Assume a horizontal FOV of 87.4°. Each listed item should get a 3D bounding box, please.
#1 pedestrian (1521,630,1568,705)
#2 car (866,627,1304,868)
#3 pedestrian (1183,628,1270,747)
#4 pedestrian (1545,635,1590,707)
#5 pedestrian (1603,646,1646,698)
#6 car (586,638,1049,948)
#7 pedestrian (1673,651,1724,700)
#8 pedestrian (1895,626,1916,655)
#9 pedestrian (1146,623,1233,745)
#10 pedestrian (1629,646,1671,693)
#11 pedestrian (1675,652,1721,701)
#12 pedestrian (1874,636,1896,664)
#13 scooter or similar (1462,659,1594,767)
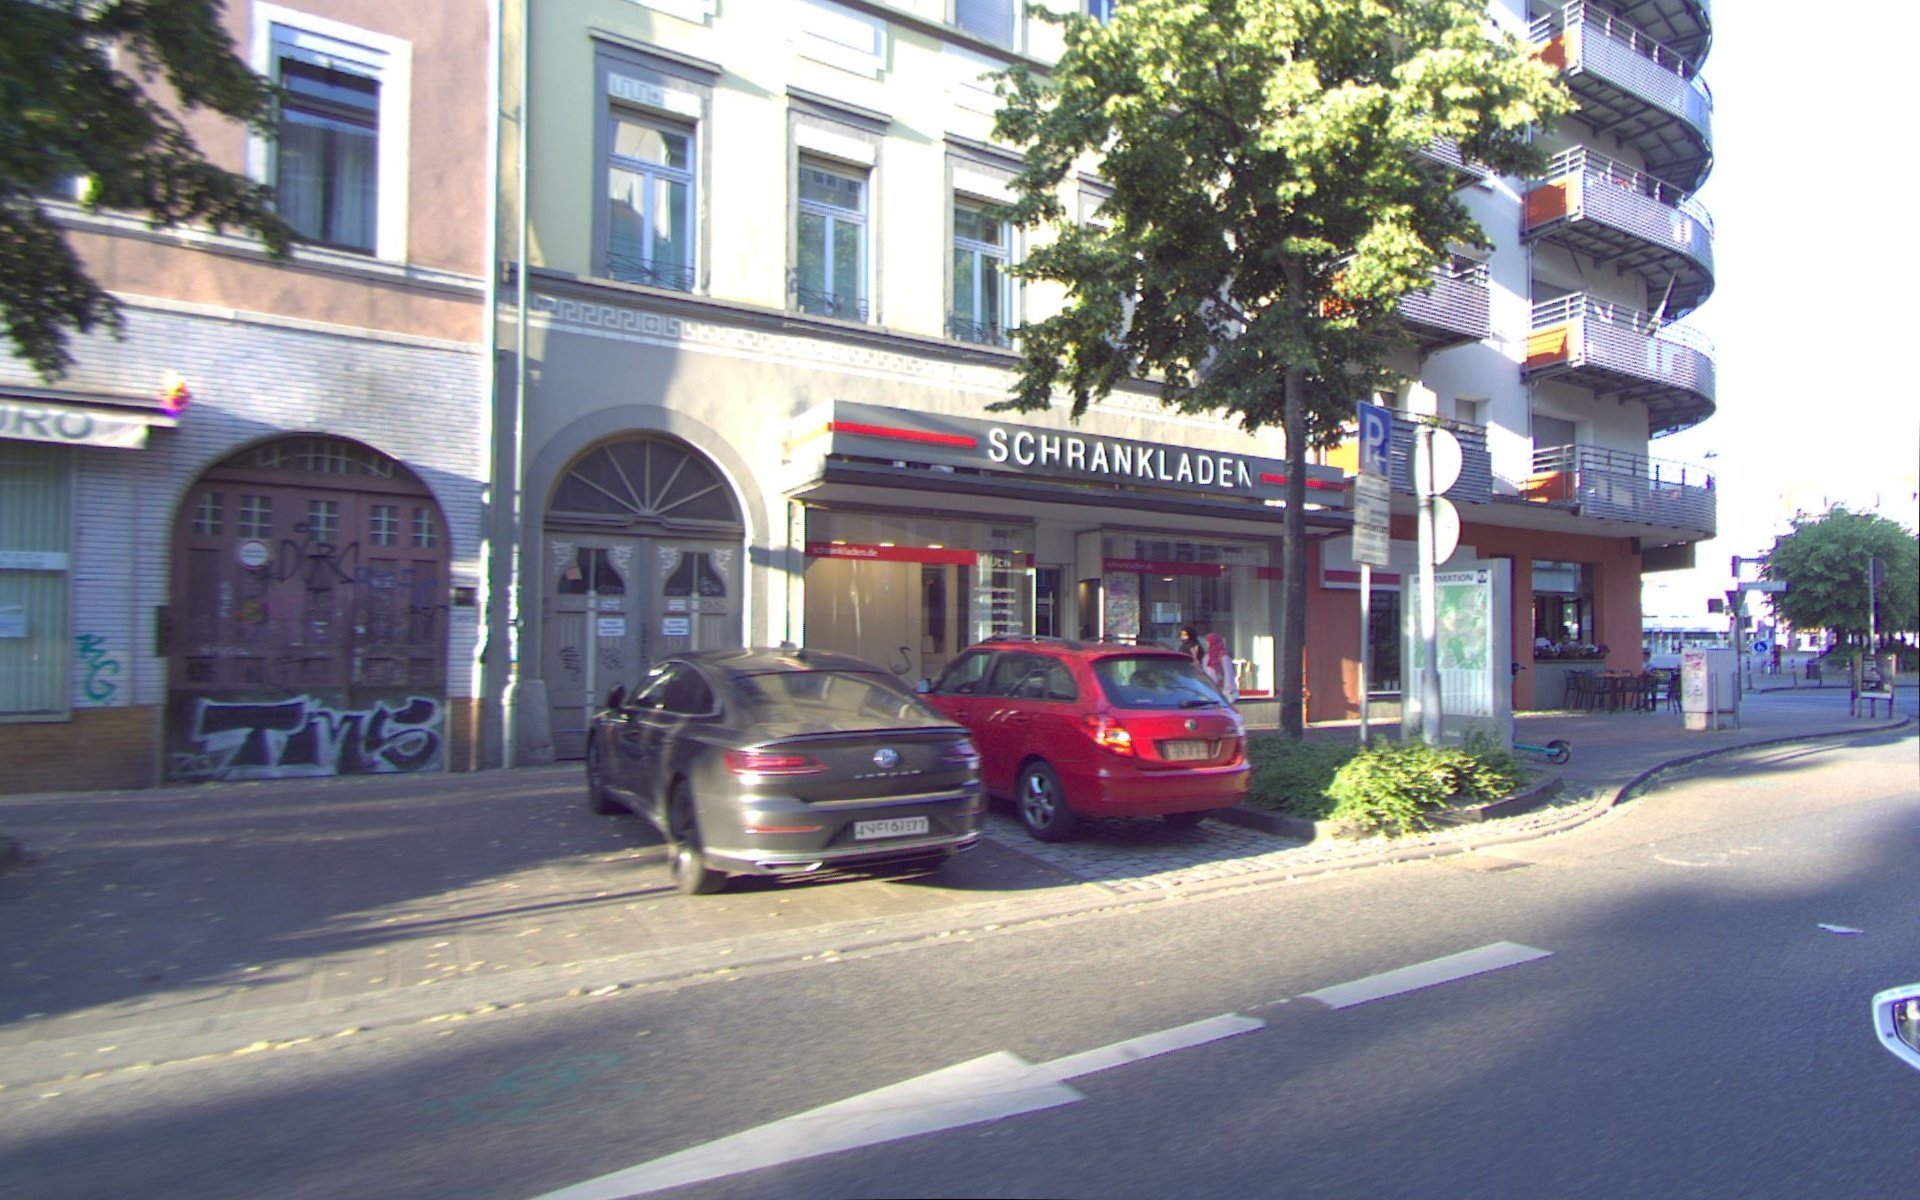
[{"bbox_3d":[12.910,1.487,22.181,0.741,1.615,0.594,3,-3,-28],"label":"pedestrian"},{"bbox_3d":[0.835,1.056,8.990,1.861,1.557,4.054,1,-1,-29],"label":"car"},{"bbox_3d":[3.645,1.185,13.753,0.865,1.548,0.731,3,-1,-29],"label":"pedestrian"},{"bbox_3d":[13.776,1.609,22.777,0.693,1.615,0.594,3,-3,-28],"label":"pedestrian"},{"bbox_3d":[17.902,1.928,27.065,0.821,1.365,0.741,3,-4,-36],"label":"pedestrian"},{"bbox_3d":[-1.397,1.059,7.450,1.800,1.426,4.548,1,-1,-31],"label":"car"},{"bbox_3d":[19.468,1.988,26.479,0.761,1.258,0.891,4,-4,-38],"label":"pedestrian"},{"bbox_3d":[54.353,2.335,57.728,0.558,1.616,0.678,1,-1,-10],"label":"pedestrian"},{"bbox_3d":[3.215,1.160,14.102,0.865,1.629,0.768,3,-1,-29],"label":"pedestrian"},{"bbox_3d":[19.060,1.917,27.759,0.821,1.263,0.717,3,-4,-36],"label":"pedestrian"},{"bbox_3d":[19.901,2.068,27.092,0.742,1.289,0.820,4,-4,-38],"label":"pedestrian"},{"bbox_3d":[54.110,2.910,58.771,0.558,1.616,0.791,1,-1,-10],"label":"pedestrian"},{"bbox_3d":[7.223,1.403,12.822,0.520,1.242,1.390,1,-1,-32],"label":"scooter or similar"}]
